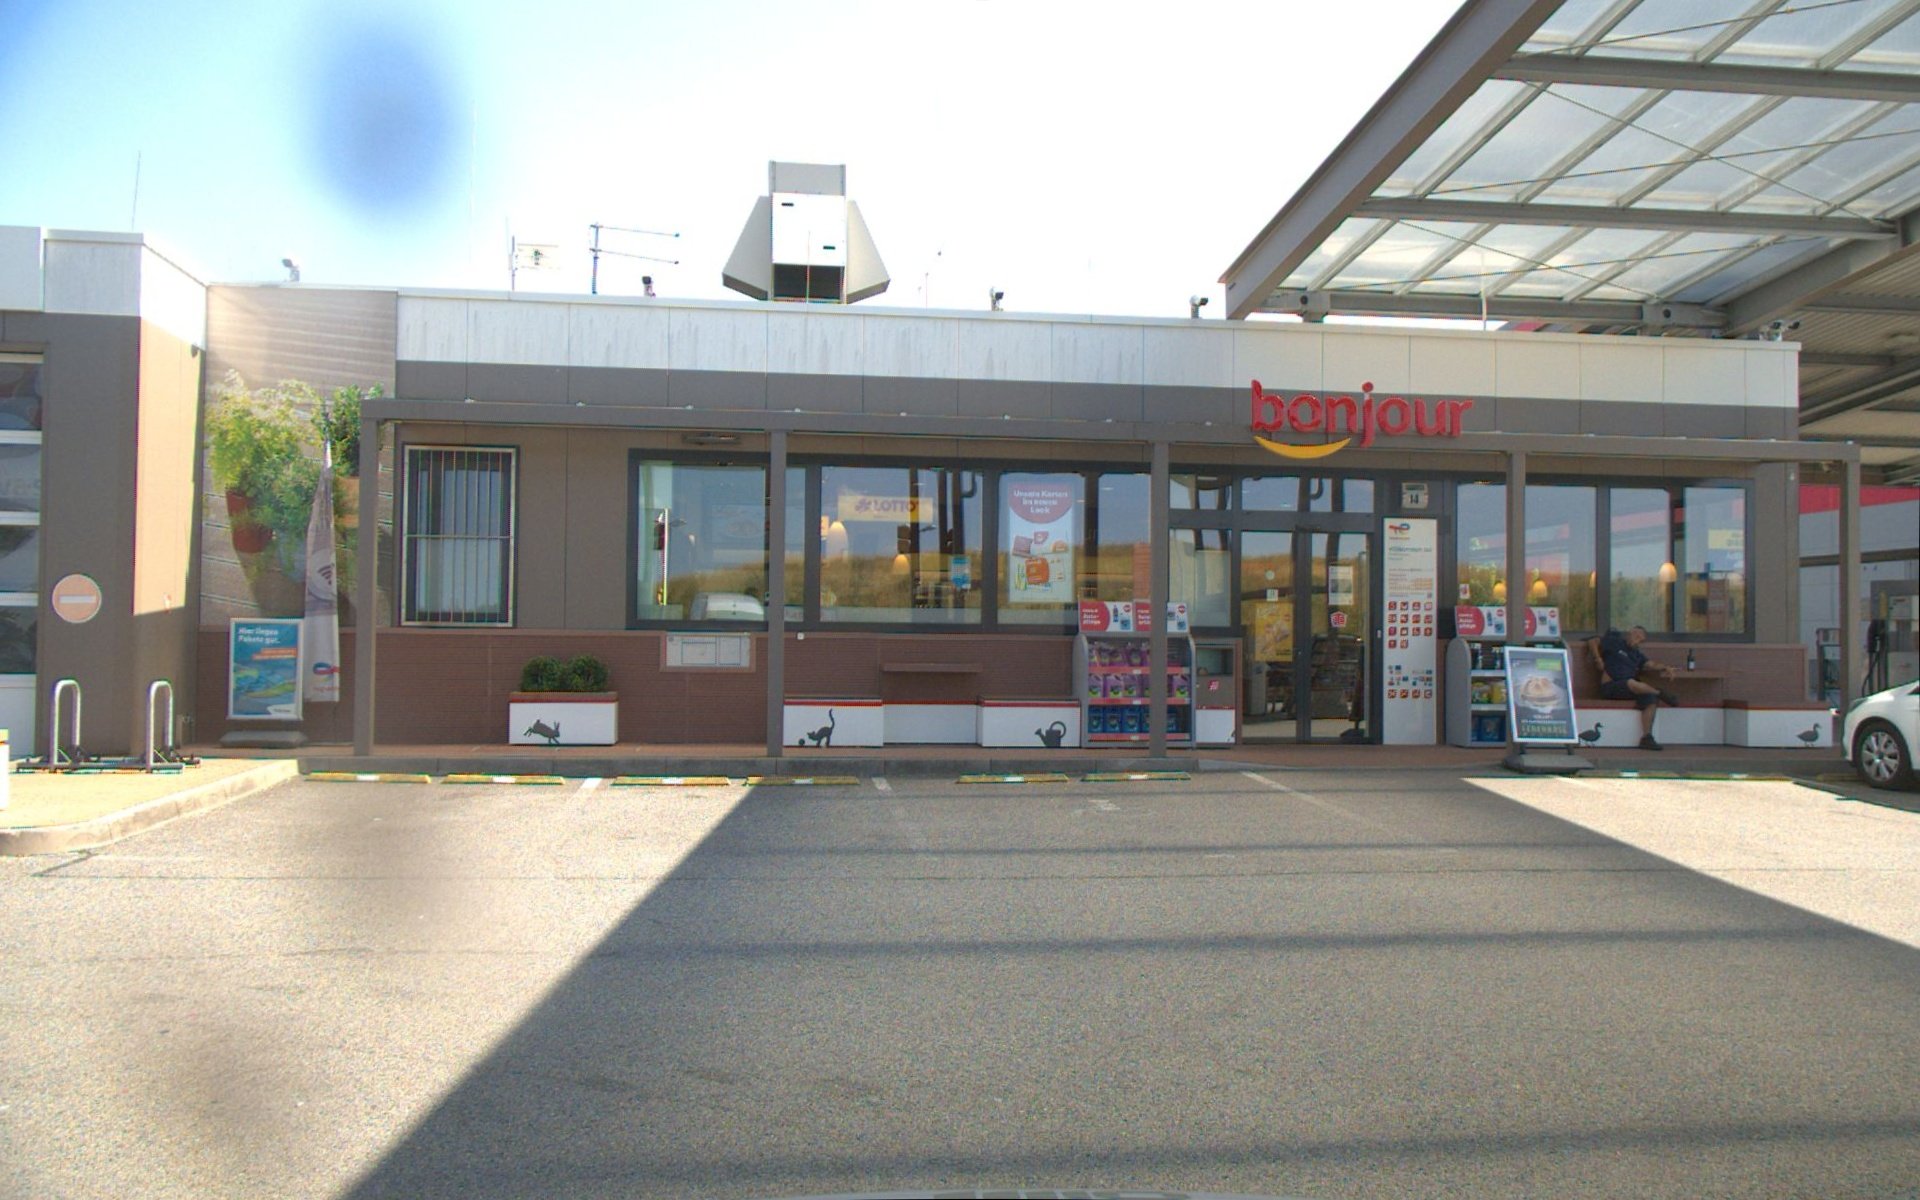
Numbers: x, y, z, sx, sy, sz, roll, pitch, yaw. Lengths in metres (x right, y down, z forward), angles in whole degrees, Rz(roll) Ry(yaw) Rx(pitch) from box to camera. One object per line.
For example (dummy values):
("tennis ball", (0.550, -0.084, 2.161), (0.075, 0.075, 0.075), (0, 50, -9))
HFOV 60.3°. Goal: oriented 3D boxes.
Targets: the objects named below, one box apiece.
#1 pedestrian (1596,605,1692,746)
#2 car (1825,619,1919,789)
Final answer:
("pedestrian", (7.228, 0.789, 17.494), (0.688, 1.457, 0.671), (0, -1, -9))
("car", (9.488, 0.908, 13.654), (1.799, 1.482, 4.306), (0, -1, -13))
